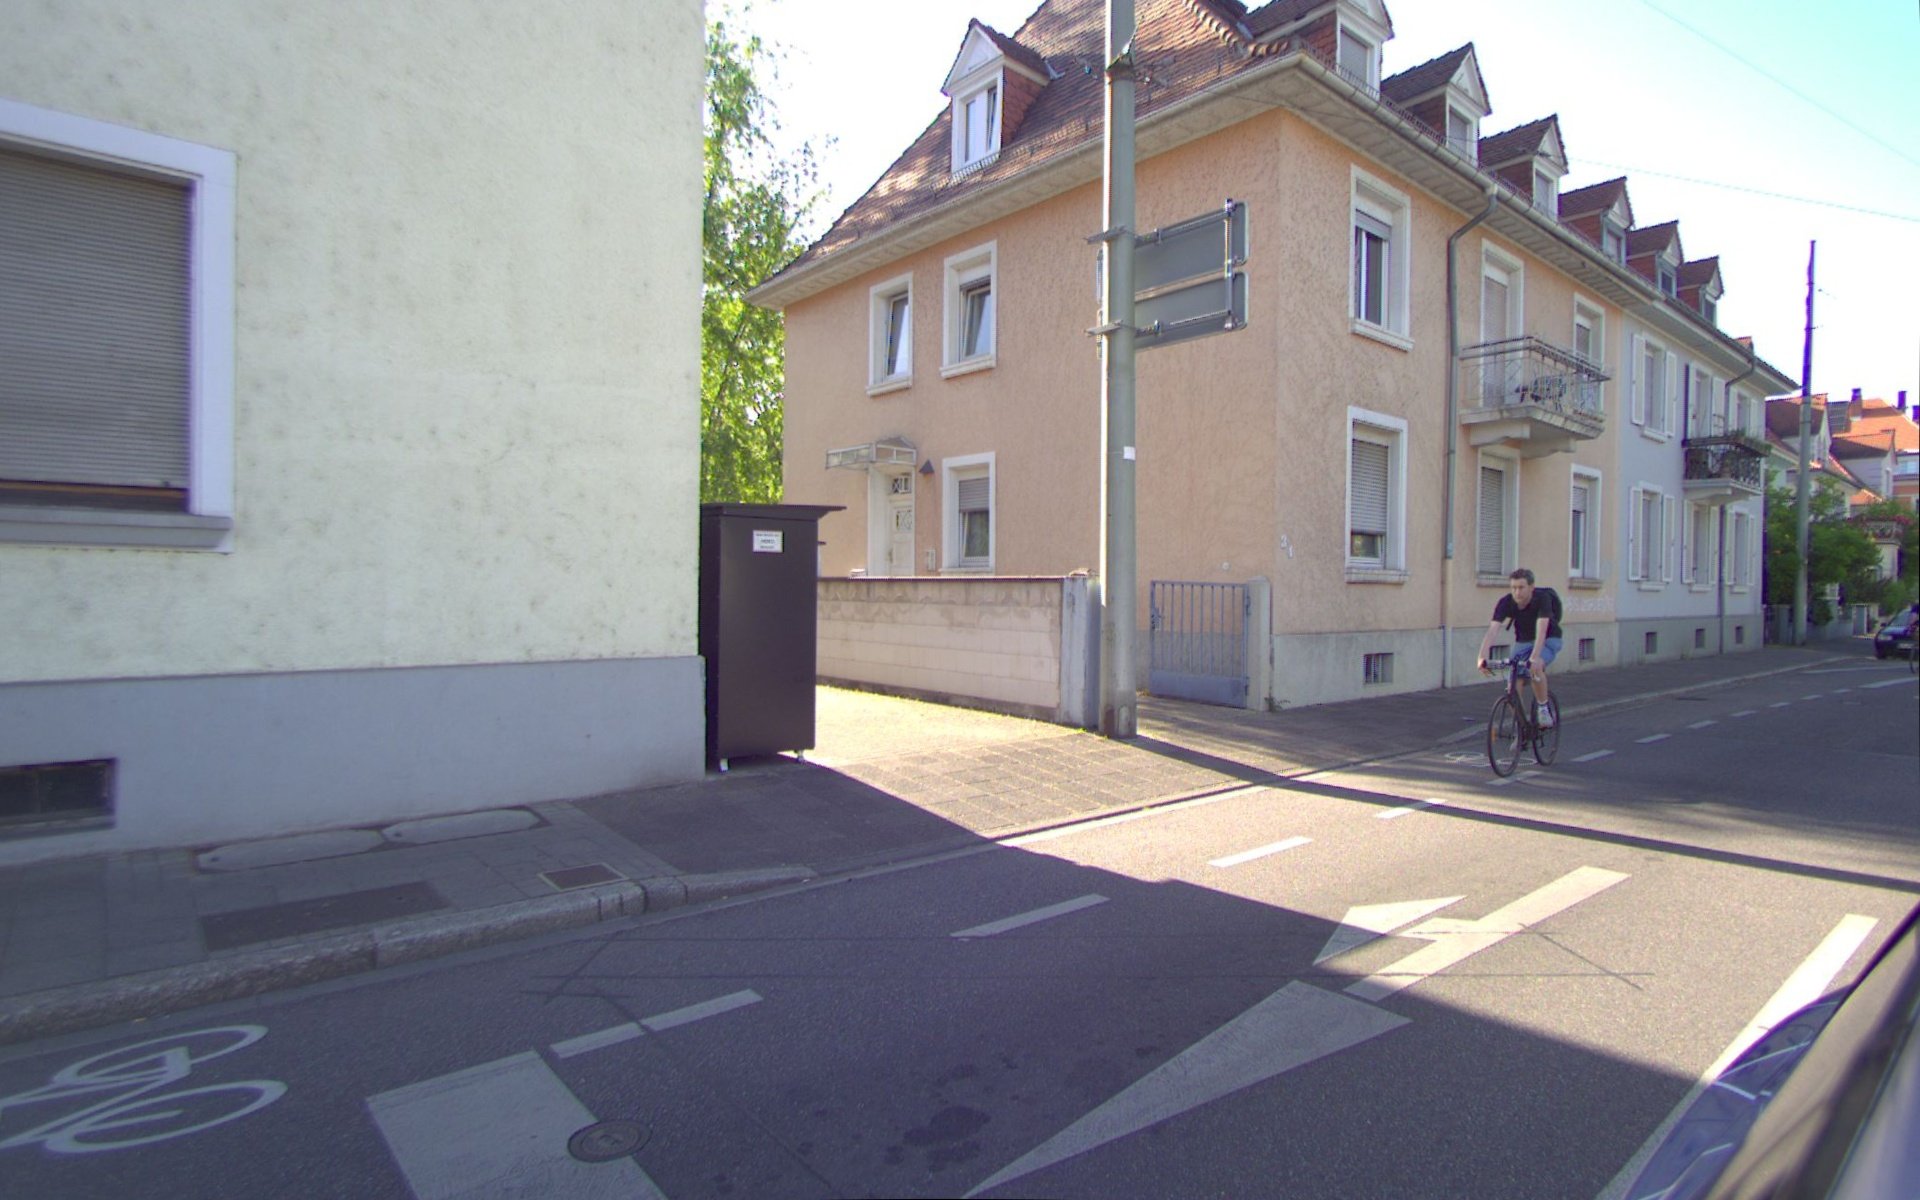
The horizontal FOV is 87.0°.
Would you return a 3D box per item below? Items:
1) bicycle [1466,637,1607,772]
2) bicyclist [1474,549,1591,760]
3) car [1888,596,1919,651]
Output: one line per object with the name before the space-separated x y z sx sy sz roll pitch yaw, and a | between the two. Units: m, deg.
bicycle | 5.152 0.879 9.002 1.727 1.029 0.533 0 1 -41
bicyclist | 5.066 0.445 8.943 1.065 1.752 0.561 0 0 -40
car | 26.717 0.618 27.404 4.347 1.425 1.866 0 1 -41
